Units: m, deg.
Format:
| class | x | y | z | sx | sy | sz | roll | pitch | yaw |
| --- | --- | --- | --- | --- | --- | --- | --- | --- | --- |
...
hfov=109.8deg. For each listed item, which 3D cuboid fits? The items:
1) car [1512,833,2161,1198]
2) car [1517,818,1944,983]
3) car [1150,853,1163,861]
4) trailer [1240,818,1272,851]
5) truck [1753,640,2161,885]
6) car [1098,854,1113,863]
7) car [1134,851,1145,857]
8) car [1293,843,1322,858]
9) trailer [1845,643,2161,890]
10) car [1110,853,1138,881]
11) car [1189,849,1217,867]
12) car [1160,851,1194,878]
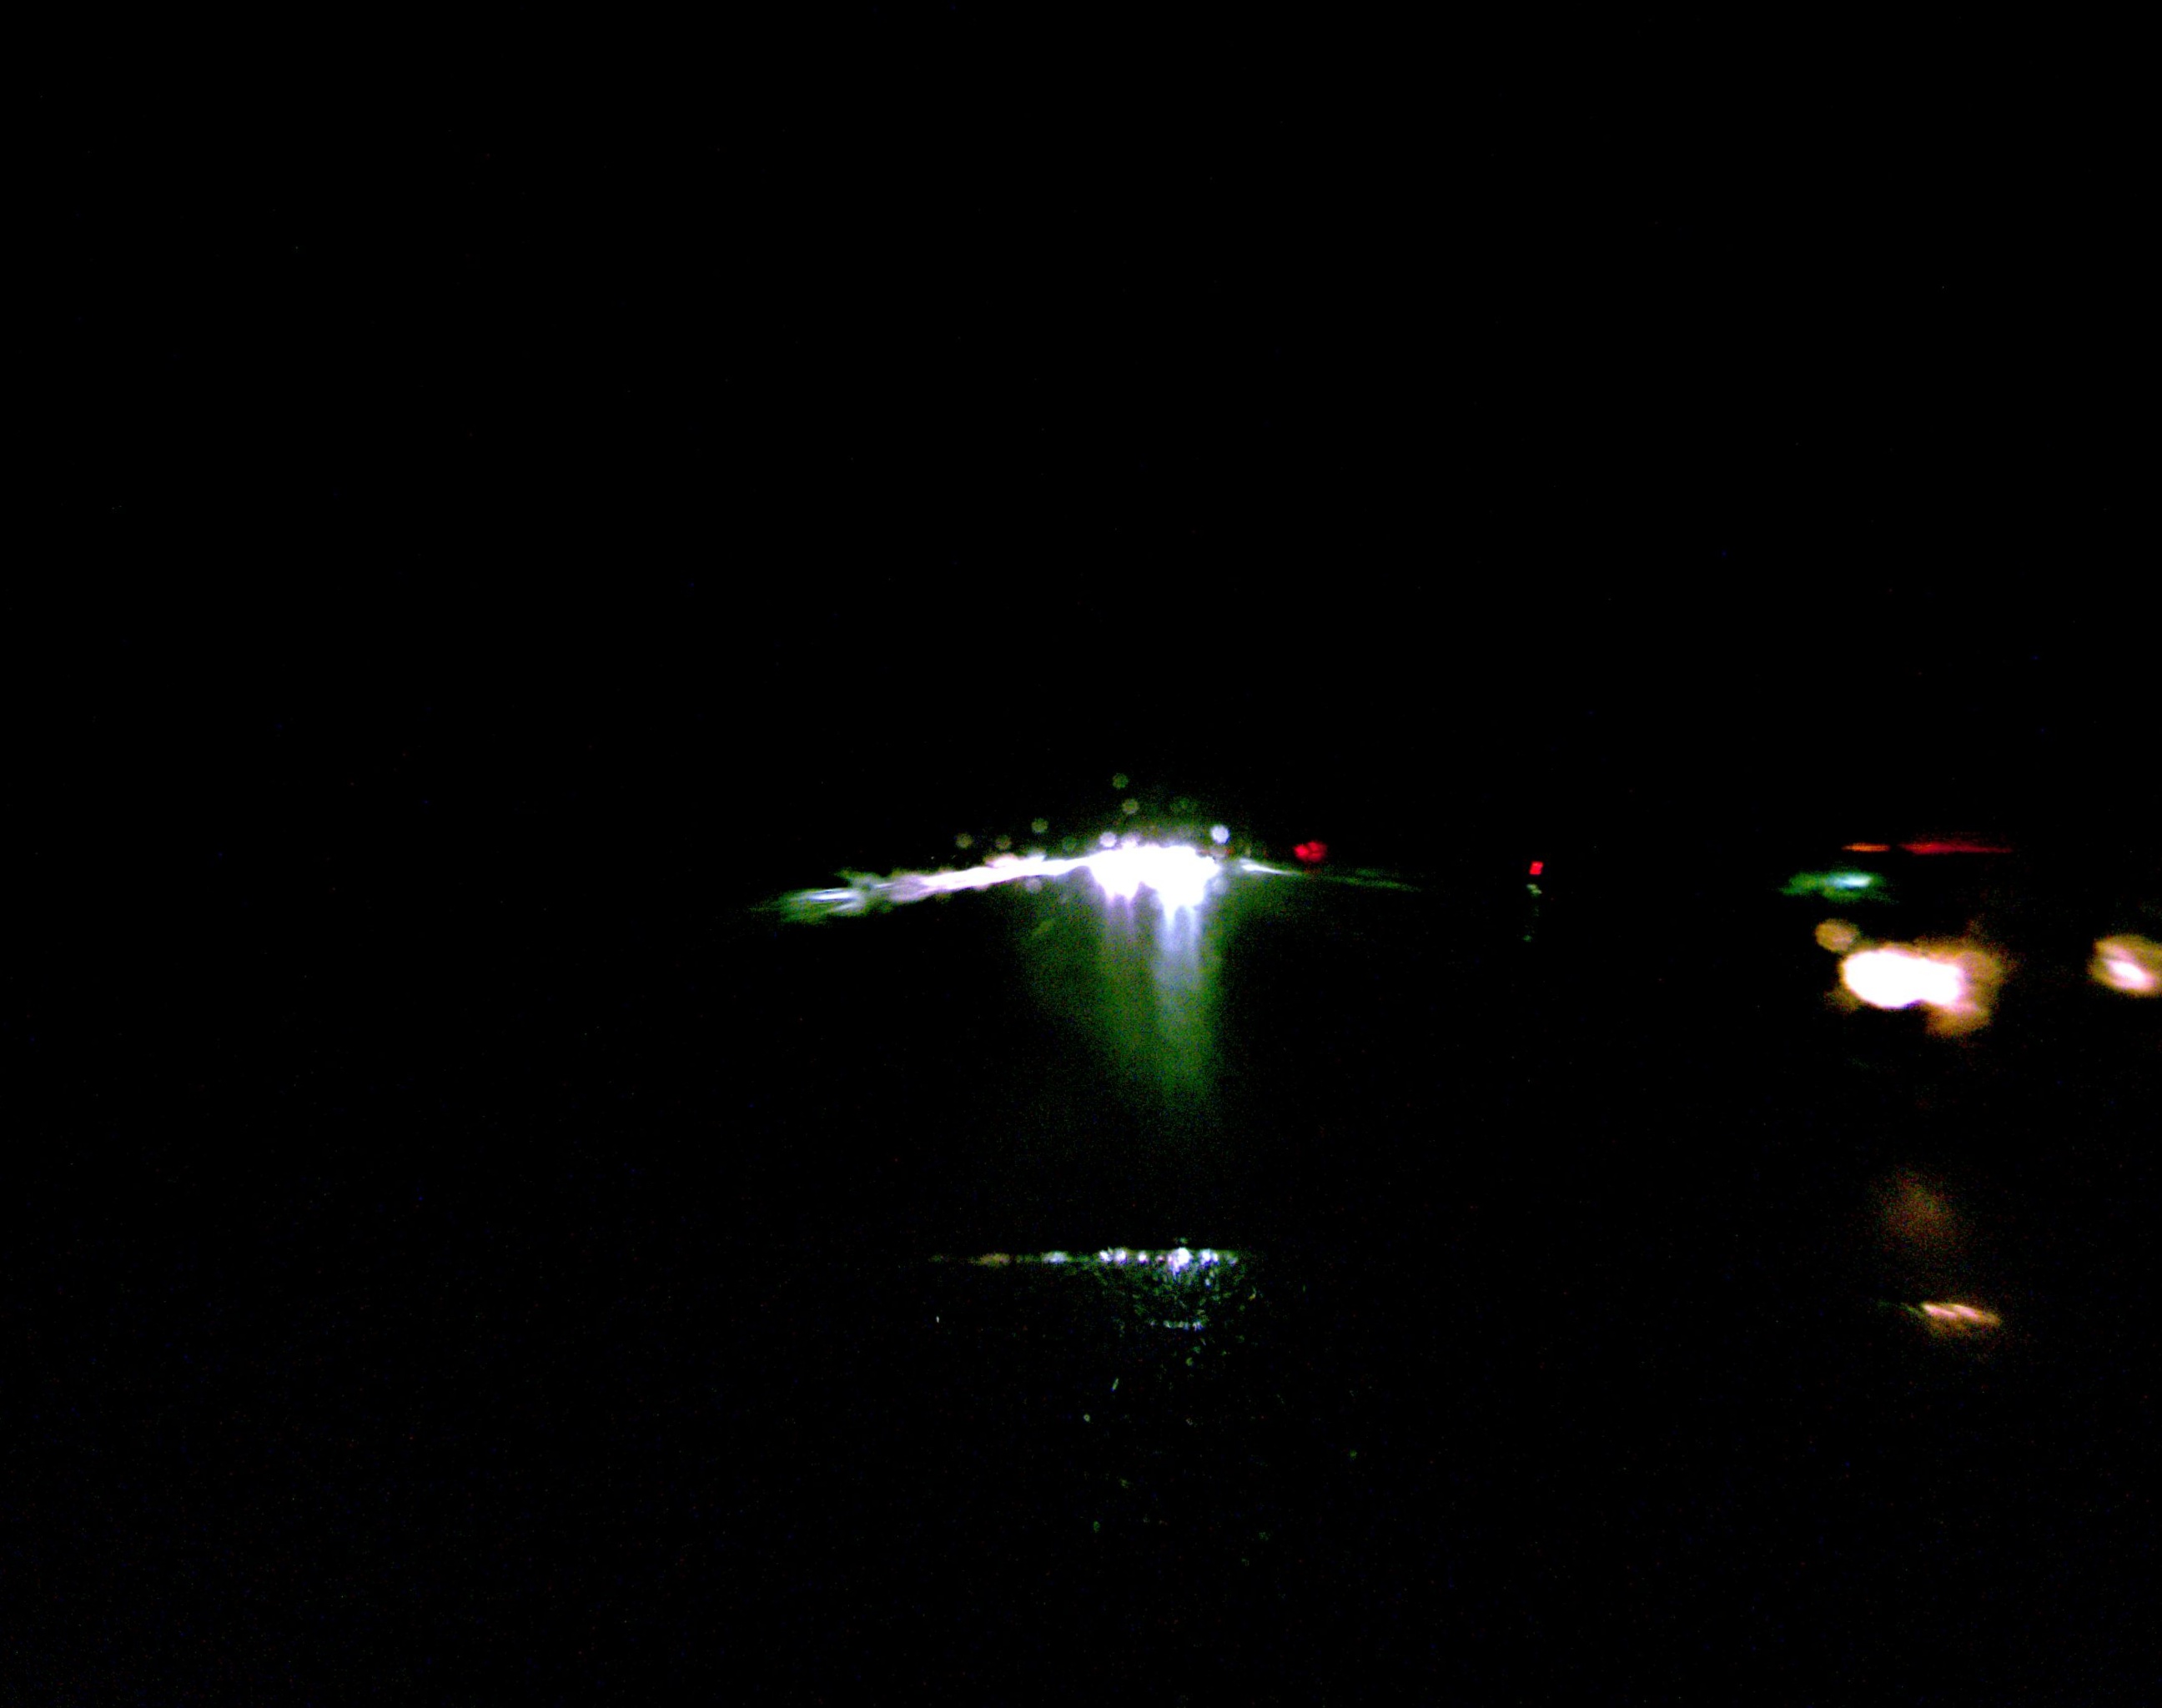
| class | x | y | z | sx | sy | sz | roll | pitch | yaw |
| --- | --- | --- | --- | --- | --- | --- | --- | --- | --- |
| car | 5.227 | 0.702 | 5.498 | 1.920 | 1.585 | 4.233 | -2 | 1 | 2 |
| car | 8.771 | 0.510 | 11.055 | 1.998 | 1.767 | 4.886 | -3 | 1 | 0 |
| car | 11.096 | 0.423 | 111.797 | 1.692 | 1.149 | 3.421 | -3 | 1 | 5 |
| trailer | 36.155 | -3.910 | 157.690 | 3.470 | 6.092 | 14.410 | -7 | 0 | 4 |
| truck | 25.970 | -2.381 | 23.290 | 4.177 | 6.093 | 7.344 | -3 | 1 | 2 |
| car | 3.820 | 0.719 | 116.687 | 1.998 | 1.149 | 4.001 | -3 | 1 | 5 |
| car | 12.887 | 0.036 | 167.170 | 1.997 | 1.149 | 4.002 | -3 | 1 | 7 |
| car | 25.627 | -0.394 | 86.178 | 1.998 | 1.633 | 4.253 | -3 | 1 | 1 |
| trailer | 25.824 | -2.019 | 16.772 | 4.177 | 5.413 | 13.746 | -3 | 1 | 2 |
| car | 3.398 | 0.969 | 60.158 | 1.998 | 2.002 | 4.000 | -3 | 1 | 3 |
| car | 11.788 | 0.381 | 73.539 | 2.310 | 1.600 | 3.872 | -3 | 1 | 4 |
| car | 6.437 | 0.672 | 51.363 | 1.998 | 1.667 | 4.001 | -3 | 1 | 4 |
